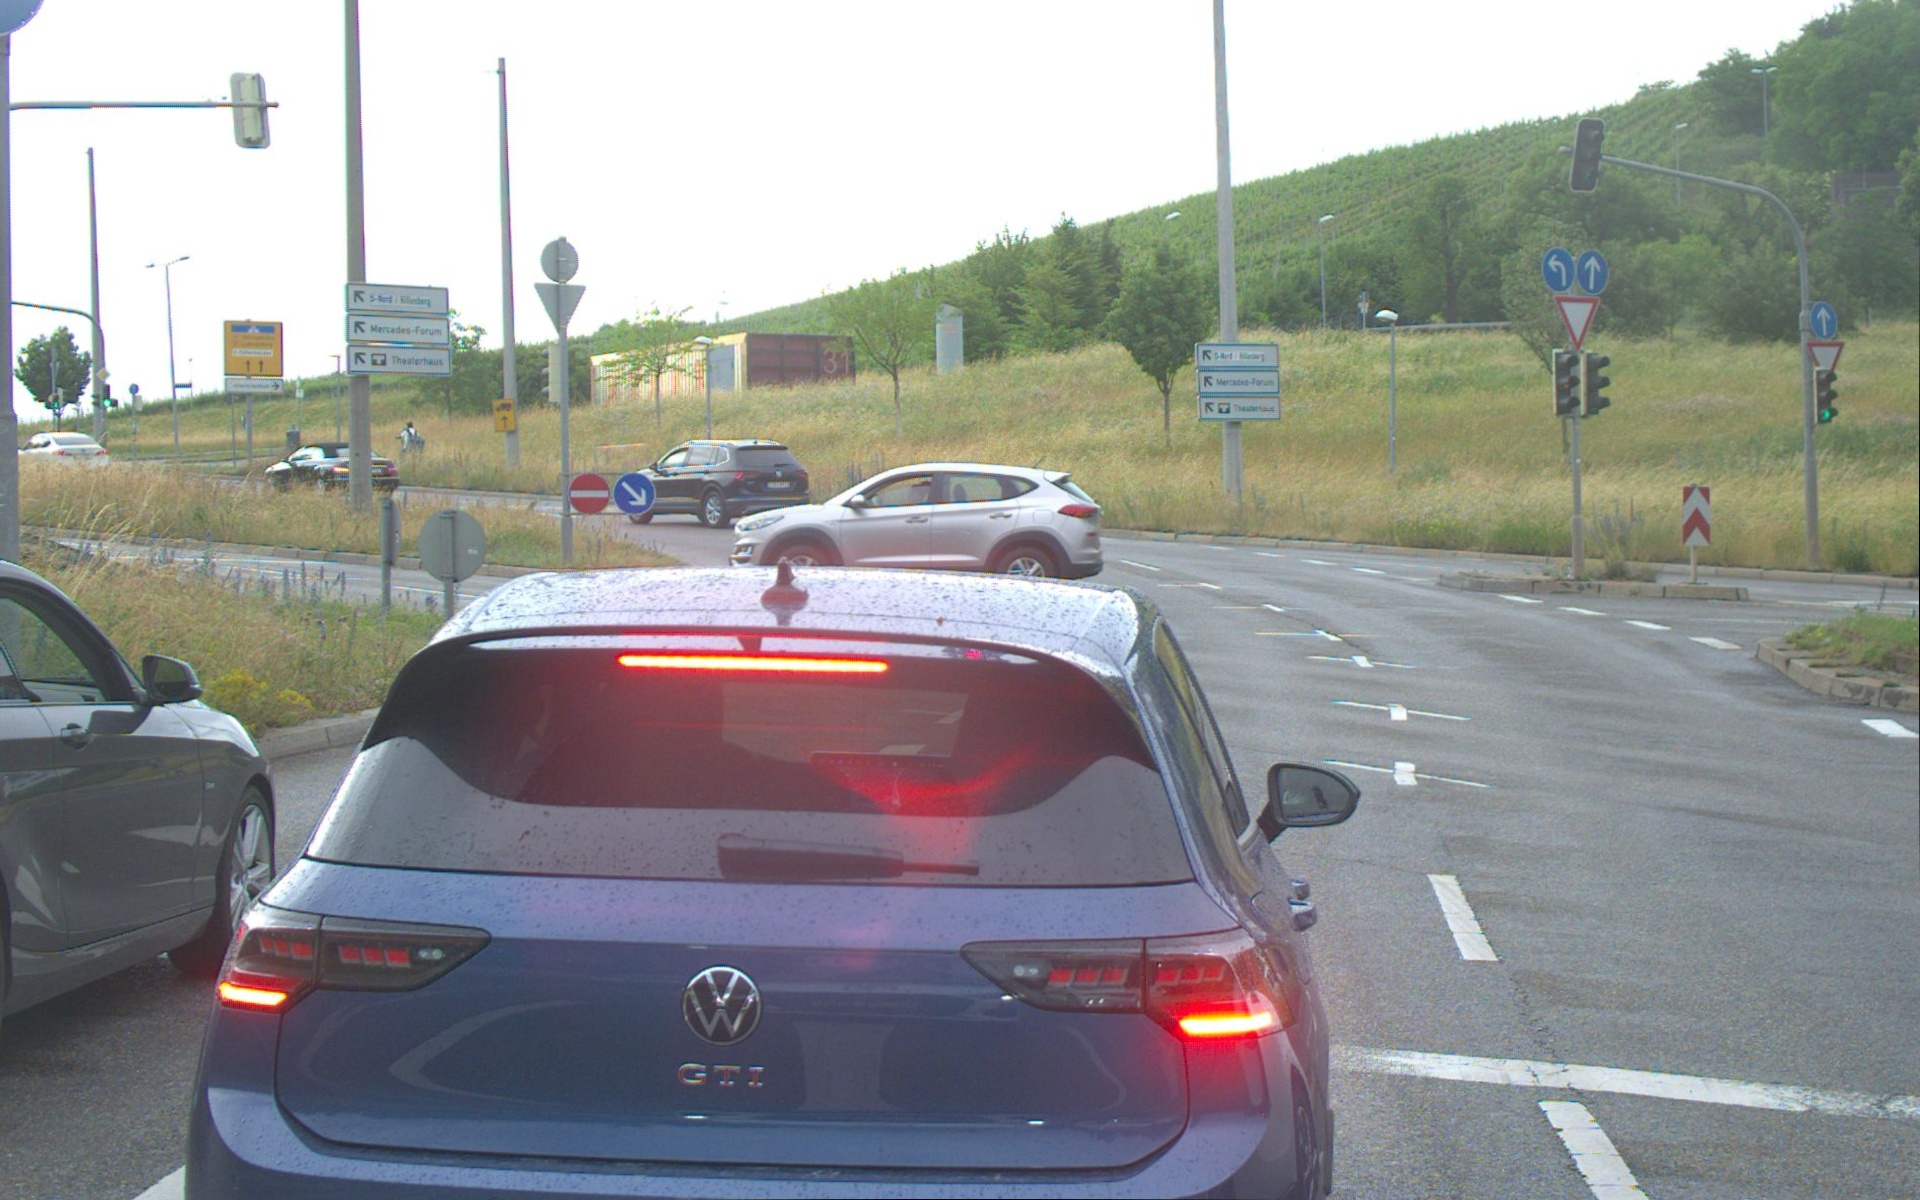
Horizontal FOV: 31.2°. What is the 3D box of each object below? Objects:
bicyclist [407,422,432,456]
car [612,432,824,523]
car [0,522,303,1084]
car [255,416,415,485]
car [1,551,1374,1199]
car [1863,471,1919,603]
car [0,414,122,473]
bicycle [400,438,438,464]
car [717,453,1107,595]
[{"bbox_3d":[-17.073,-5.079,108.514,0.523,1.043,0.580,3,1,-35],"label":"bicyclist"},{"bbox_3d":[-4.721,-2.342,66.537,1.994,1.631,4.420,1,0,-37],"label":"car"},{"bbox_3d":[-3.271,0.509,9.726,1.703,1.454,4.114,0,1,5],"label":"car"},{"bbox_3d":[-14.886,-3.532,81.709,1.994,1.472,4.502,1,0,-36],"label":"car"},{"bbox_3d":[-0.218,0.647,6.435,1.825,1.455,3.808,0,1,5],"label":"car"},{"bbox_3d":[13.508,-0.692,41.459,1.994,1.612,4.851,1,2,-36],"label":"car"},{"bbox_3d":[-25.708,-4.437,97.962,1.994,1.472,4.420,1,0,-36],"label":"car"},{"bbox_3d":[-17.058,-4.715,108.464,0.518,0.772,1.621,2,1,-33],"label":"bicycle"},{"bbox_3d":[-0.535,-0.901,41.330,4.510,1.615,2.000,1,0,4],"label":"car"}]
